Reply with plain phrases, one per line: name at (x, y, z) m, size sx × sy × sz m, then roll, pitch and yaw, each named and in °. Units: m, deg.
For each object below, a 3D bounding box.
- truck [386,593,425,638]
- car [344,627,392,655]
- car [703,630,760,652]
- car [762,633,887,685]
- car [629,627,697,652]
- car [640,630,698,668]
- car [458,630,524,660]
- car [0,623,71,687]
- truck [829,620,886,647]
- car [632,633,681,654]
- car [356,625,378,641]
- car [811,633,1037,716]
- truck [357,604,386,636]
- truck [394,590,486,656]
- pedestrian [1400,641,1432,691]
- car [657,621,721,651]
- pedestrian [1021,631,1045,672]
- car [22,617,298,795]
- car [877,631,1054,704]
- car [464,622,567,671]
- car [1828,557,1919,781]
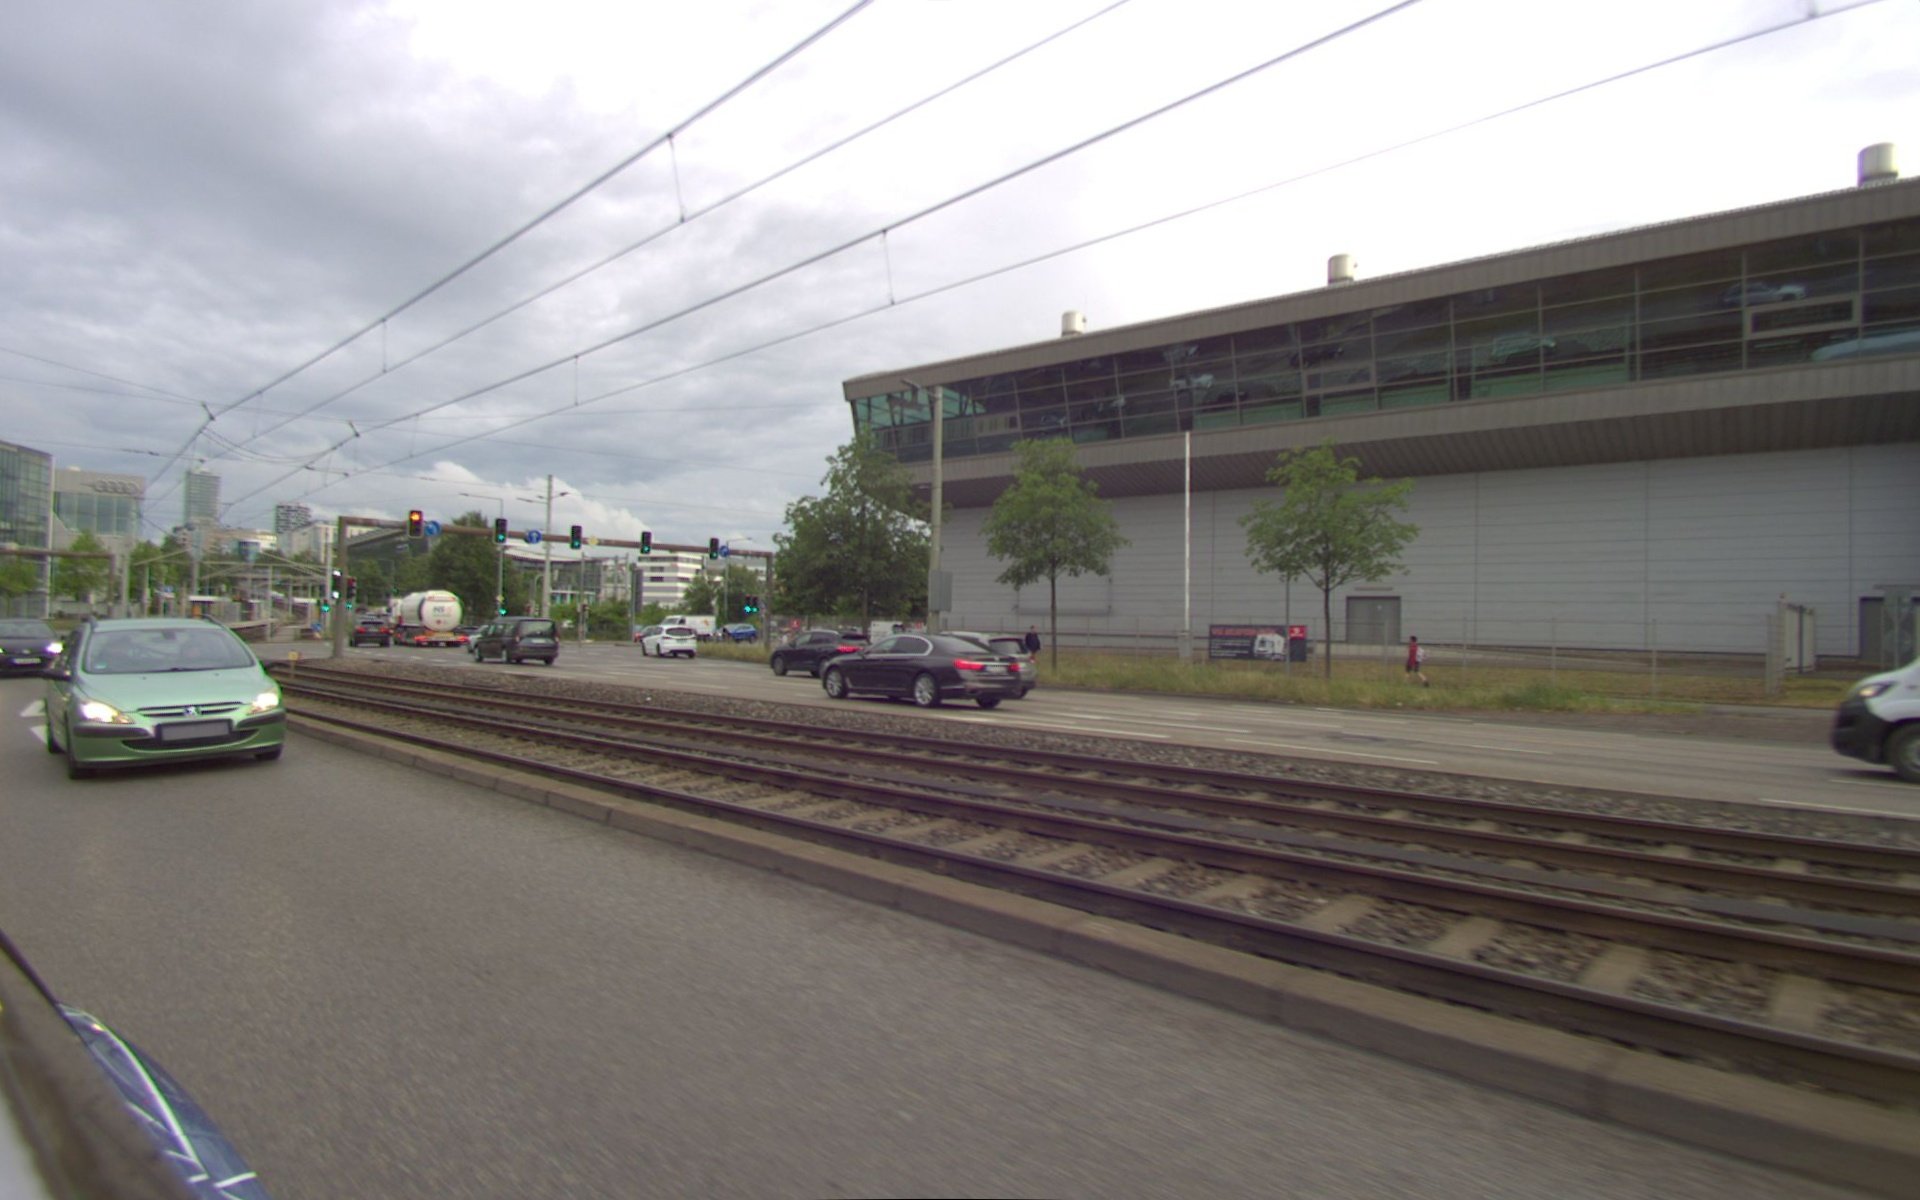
truck at (-58.027, 1.712, 106.059) m, size 3.213 × 4.564 × 7.114 m, roll 2°, pitch -3°, yaw -26°
car at (-35.148, 2.437, 60.076) m, size 1.793 × 1.586 × 4.007 m, roll 3°, pitch -3°, yaw -39°
car at (-18.245, 3.287, 80.895) m, size 1.909 × 1.729 × 4.202 m, roll -1°, pitch -3°, yaw 36°
car at (-4.743, 2.002, 35.041) m, size 4.475 × 1.696 × 1.971 m, roll -2°, pitch -4°, yaw 45°
car at (-22.103, 2.963, 75.402) m, size 1.997 × 1.849 × 4.605 m, roll -1°, pitch -3°, yaw 37°
car at (-14.952, 2.513, 51.882) m, size 1.785 × 1.839 × 3.882 m, roll 3°, pitch -3°, yaw -32°
car at (-23.459, 2.238, 50.568) m, size 1.774 × 1.457 × 3.925 m, roll 3°, pitch -4°, yaw -44°
car at (-24.714, 1.395, 26.453) m, size 3.712 × 1.556 × 1.739 m, roll -1°, pitch 0°, yaw 41°
truck at (-8.088, 2.675, 79.892) m, size 3.966 × 2.029 × 1.989 m, roll 0°, pitch -3°, yaw 17°
car at (-27.479, 3.958, 91.724) m, size 3.930 × 1.807 × 2.006 m, roll 2°, pitch -3°, yaw -25°
car at (-61.421, 3.391, 104.849) m, size 1.786 × 1.586 × 4.012 m, roll 2°, pitch -3°, yaw -28°
car at (-0.878, 1.471, 20.878) m, size 1.923 × 1.496 × 5.001 m, roll 4°, pitch -4°, yaw -41°
truck at (-82.185, 2.864, 141.449) m, size 3.330 × 4.171 × 7.652 m, roll 2°, pitch -3°, yaw -30°
truck at (-33.029, 1.560, 63.951) m, size 4.024 × 3.785 × 10.882 m, roll 2°, pitch -3°, yaw -33°
pedestrian at (14.398, 2.067, 31.964) m, size 0.542 × 1.509 × 0.759 m, roll 0°, pitch -1°, yaw -44°
car at (-22.154, 2.997, 82.916) m, size 1.994 × 2.350 × 5.008 m, roll -1°, pitch -3°, yaw 32°
pedestrian at (2.906, 2.055, 40.377) m, size 0.627 × 1.575 × 0.674 m, roll -1°, pitch -1°, yaw 43°
car at (-8.674, 0.957, 10.833) m, size 4.138 × 1.509 × 1.738 m, roll -1°, pitch 0°, yaw 43°
car at (0.062, 1.681, 25.814) m, size 1.917 × 1.684 × 4.512 m, roll 4°, pitch -4°, yaw -43°
car at (-17.153, 1.794, 38.958) m, size 4.680 × 1.745 × 1.971 m, roll -2°, pitch -4°, yaw 45°
car at (13.375, 0.786, 10.312) m, size 2.402 × 2.519 × 6.557 m, roll 5°, pitch -5°, yaw -40°
